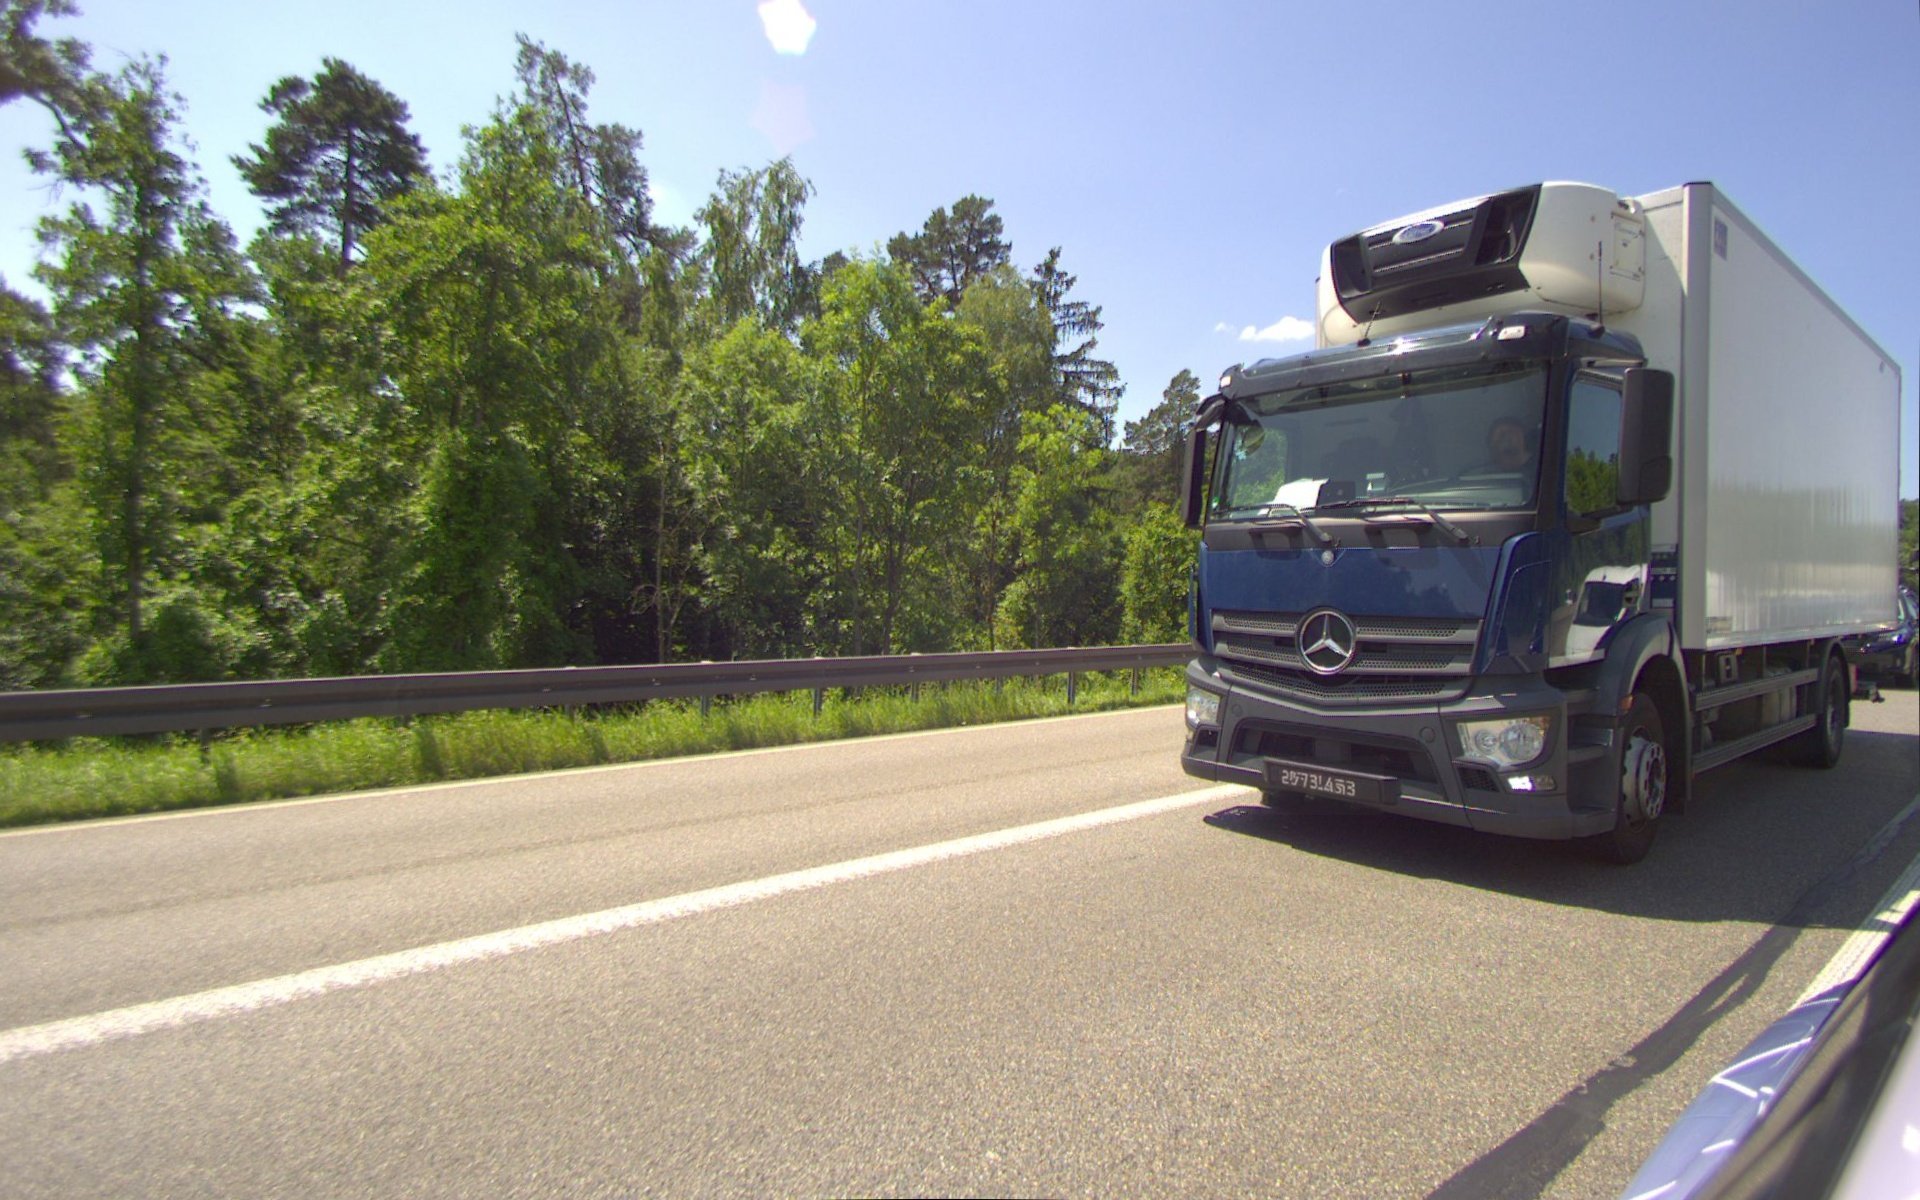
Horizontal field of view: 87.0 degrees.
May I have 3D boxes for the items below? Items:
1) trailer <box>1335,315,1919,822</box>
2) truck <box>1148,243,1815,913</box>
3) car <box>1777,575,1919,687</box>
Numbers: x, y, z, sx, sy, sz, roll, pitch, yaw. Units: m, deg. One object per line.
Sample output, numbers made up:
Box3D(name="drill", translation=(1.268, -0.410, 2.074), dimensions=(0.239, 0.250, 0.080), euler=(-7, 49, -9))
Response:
Box3D(name="trailer", translation=(6.715, -0.236, 9.320), dimensions=(7.740, 2.935, 2.561), euler=(-1, 1, -39))
Box3D(name="truck", translation=(3.564, -0.173, 6.771), dimensions=(4.031, 2.976, 2.562), euler=(-2, 2, -39))
Box3D(name="car", translation=(16.308, 0.439, 18.103), dimensions=(4.534, 1.713, 1.996), euler=(-2, 3, -43))
